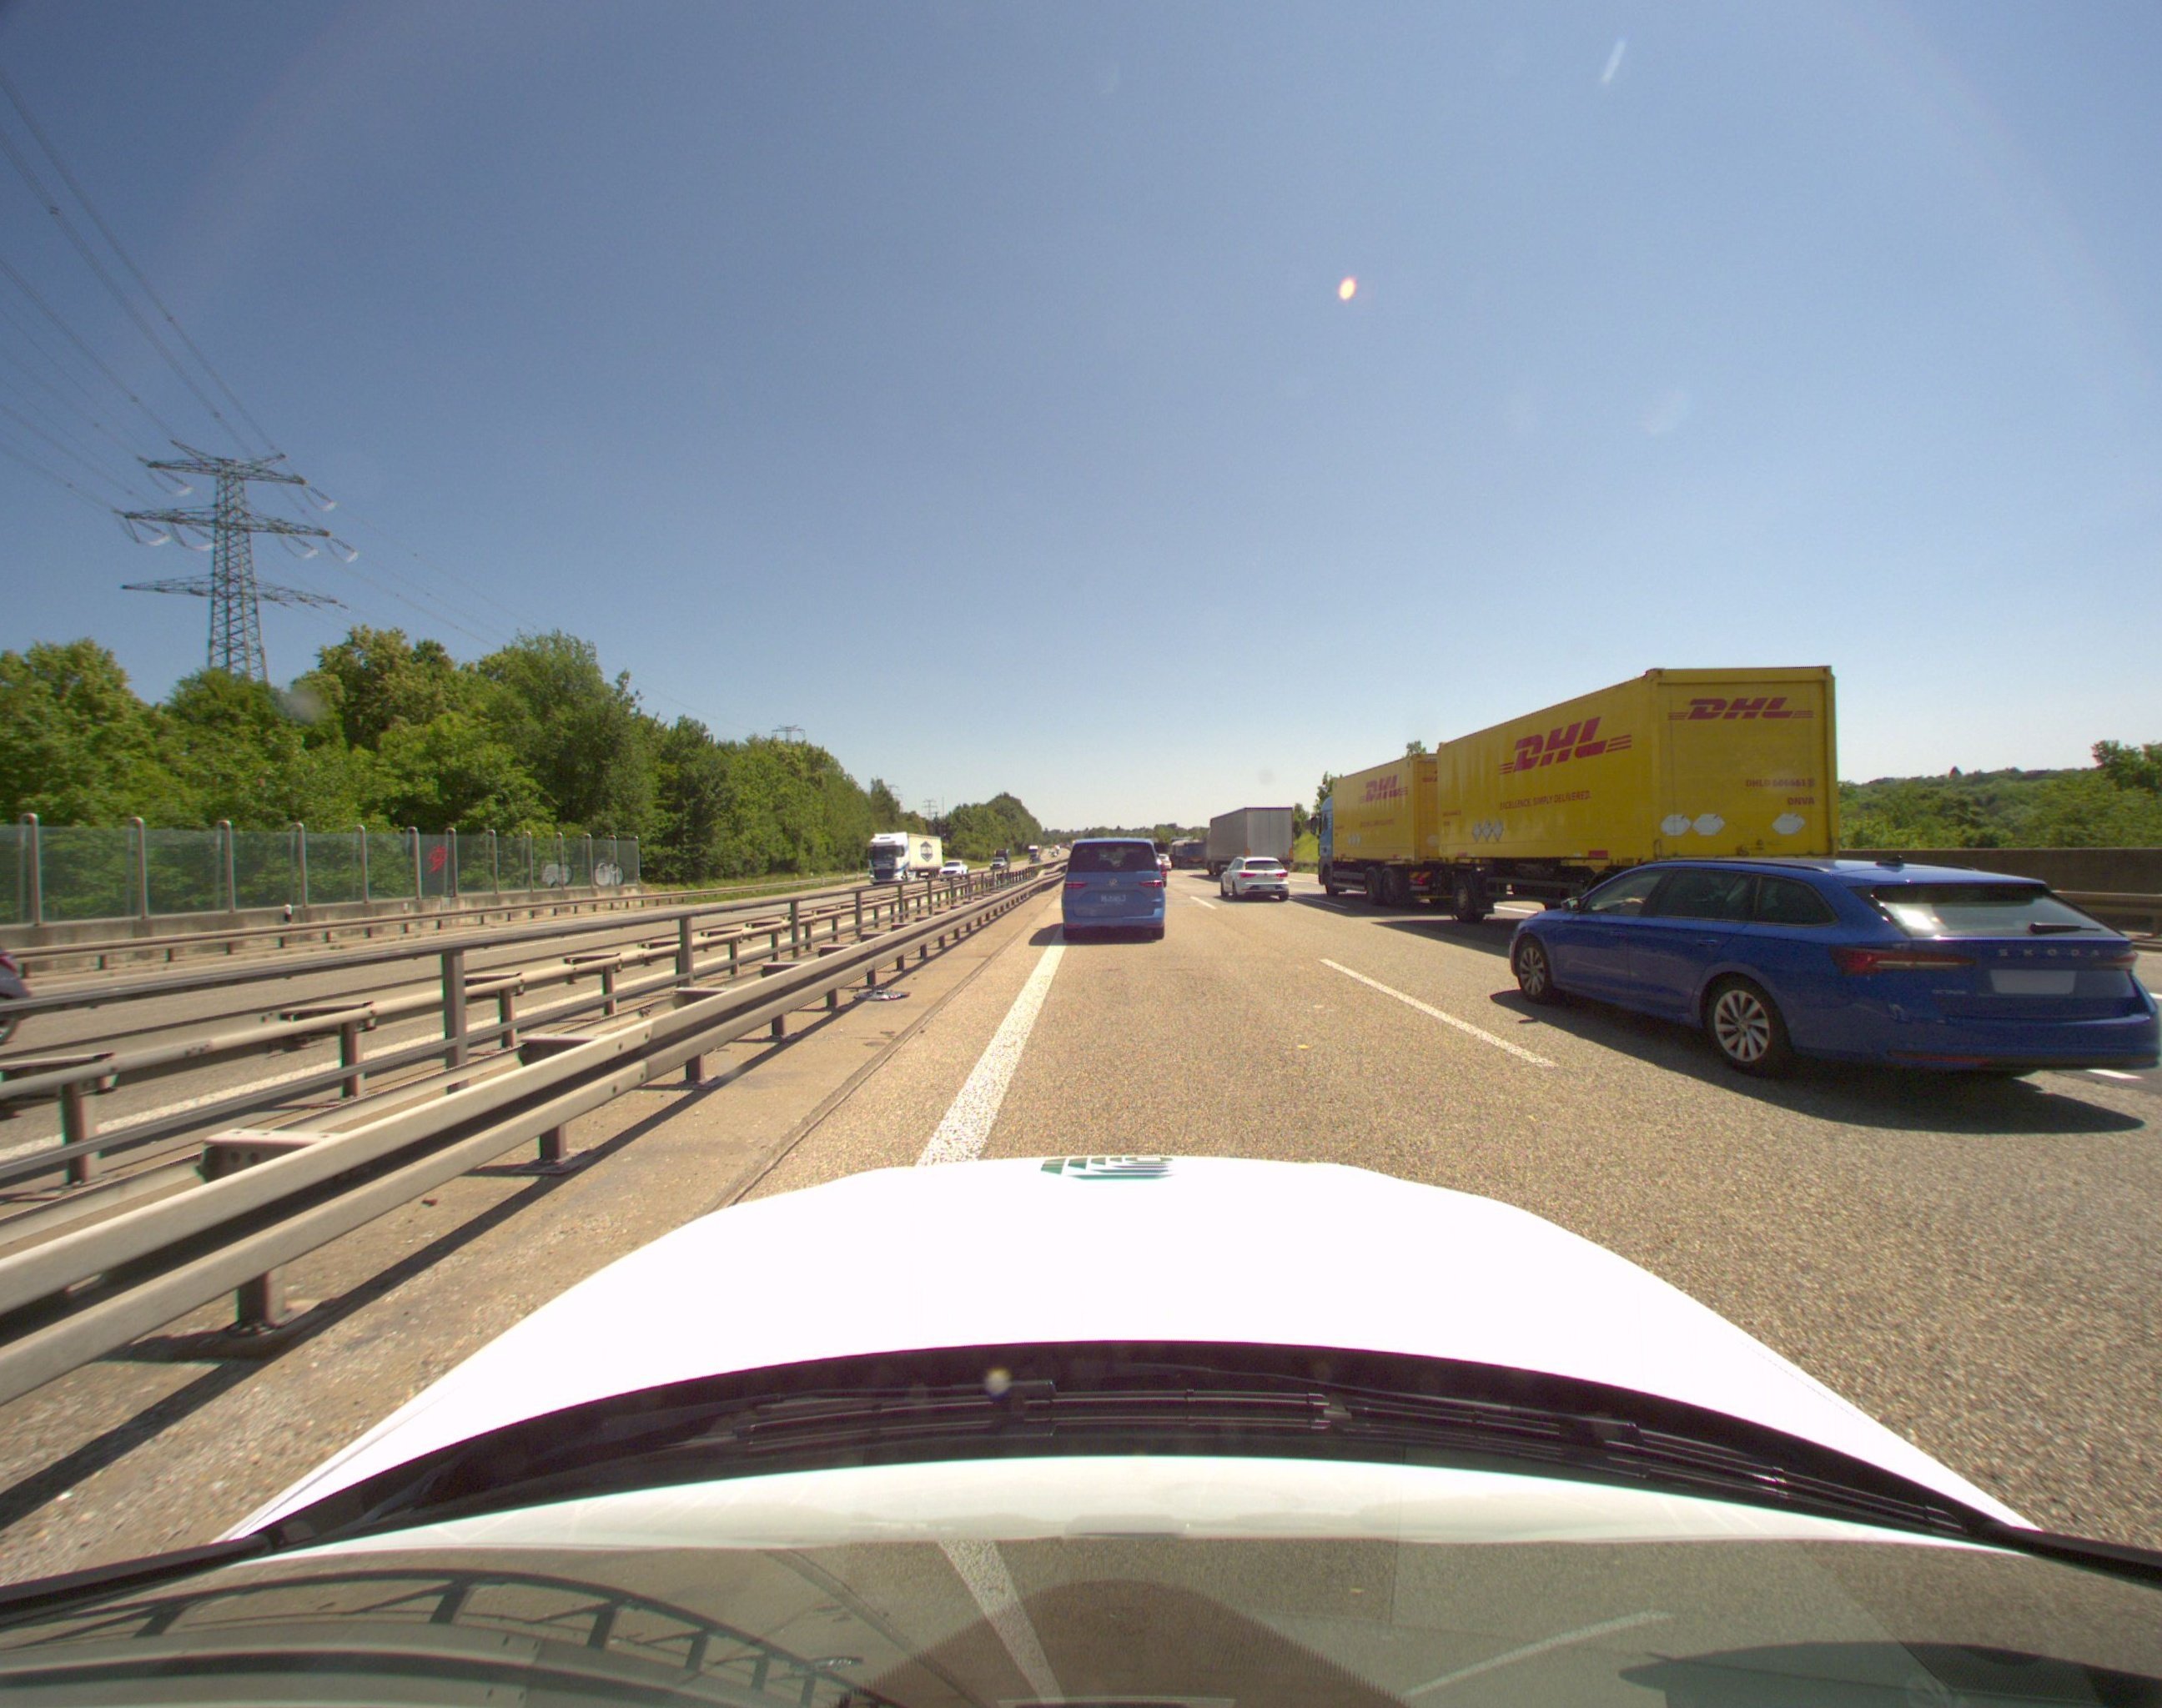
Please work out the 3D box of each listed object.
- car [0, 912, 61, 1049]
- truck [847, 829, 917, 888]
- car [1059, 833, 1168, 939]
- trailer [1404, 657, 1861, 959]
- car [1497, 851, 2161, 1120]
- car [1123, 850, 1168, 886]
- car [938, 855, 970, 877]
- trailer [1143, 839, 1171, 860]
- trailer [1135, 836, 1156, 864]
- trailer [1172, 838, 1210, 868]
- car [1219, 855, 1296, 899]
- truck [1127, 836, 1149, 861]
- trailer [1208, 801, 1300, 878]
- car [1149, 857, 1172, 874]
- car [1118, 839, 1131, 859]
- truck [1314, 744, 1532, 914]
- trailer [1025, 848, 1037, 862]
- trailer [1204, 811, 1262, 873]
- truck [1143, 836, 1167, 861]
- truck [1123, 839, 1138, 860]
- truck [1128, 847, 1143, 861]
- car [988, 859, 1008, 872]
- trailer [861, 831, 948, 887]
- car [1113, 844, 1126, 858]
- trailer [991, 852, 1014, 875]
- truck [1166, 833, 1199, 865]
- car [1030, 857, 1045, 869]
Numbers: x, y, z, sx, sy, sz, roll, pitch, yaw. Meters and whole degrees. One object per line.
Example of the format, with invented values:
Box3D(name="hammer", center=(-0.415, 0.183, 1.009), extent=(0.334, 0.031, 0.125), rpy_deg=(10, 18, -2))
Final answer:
Box3D(name="car", center=(-12.702, 1.424, 7.669), extent=(1.646, 1.462, 3.543), rpy_deg=(-3, -1, 2))
Box3D(name="truck", center=(-15.347, 0.350, 63.199), extent=(3.992, 4.228, 4.859), rpy_deg=(-3, -1, 1))
Box3D(name="car", center=(0.642, 0.582, 16.240), extent=(1.894, 1.838, 4.002), rpy_deg=(0, -1, 2))
Box3D(name="trailer", center=(9.376, -0.604, 15.806), extent=(2.755, 4.117, 9.380), rpy_deg=(0, 0, 2))
Box3D(name="car", center=(5.292, 0.729, 6.587), extent=(1.700, 1.441, 4.429), rpy_deg=(0, -1, 1))
Box3D(name="car", center=(2.970, 0.643, 38.088), extent=(1.864, 1.552, 4.000), rpy_deg=(0, -1, 1))
Box3D(name="car", center=(-10.429, 0.958, 67.144), extent=(1.742, 1.696, 4.387), rpy_deg=(-3, -1, 2))
Box3D(name="trailer", center=(11.772, -0.640, 127.160), extent=(3.631, 3.079, 15.783), rpy_deg=(0, -1, 3))
Box3D(name="trailer", center=(12.253, -0.733, 155.121), extent=(3.631, 5.136, 13.084), rpy_deg=(0, -1, 3))
Box3D(name="trailer", center=(10.826, -0.154, 81.009), extent=(2.734, 2.836, 9.118), rpy_deg=(0, 1, 1))
Box3D(name="car", center=(5.782, 0.720, 27.152), extent=(1.860, 1.361, 4.002), rpy_deg=(0, 0, 2))
Box3D(name="truck", center=(12.248, -1.028, 176.156), extent=(3.610, 5.213, 15.683), rpy_deg=(0, -1, 0))
Box3D(name="trailer", center=(10.256, -0.756, 50.064), extent=(2.952, 4.049, 13.754), rpy_deg=(-1, 0, 1))
Box3D(name="car", center=(6.971, 1.010, 71.996), extent=(1.833, 1.454, 4.002), rpy_deg=(0, -1, 2))
Box3D(name="car", center=(11.964, -1.400, 224.235), extent=(3.207, 5.257, 8.145), rpy_deg=(0, -1, 1))
Box3D(name="truck", center=(9.687, -0.578, 24.662), extent=(2.755, 4.109, 9.957), rpy_deg=(0, 0, 2))
Box3D(name="trailer", center=(-14.089, 0.296, 231.920), extent=(2.747, 3.976, 6.132), rpy_deg=(-3, 0, 1))
Box3D(name="trailer", center=(10.374, -0.812, 56.276), extent=(2.914, 4.044, 6.412), rpy_deg=(-1, 0, 1))
Box3D(name="truck", center=(12.141, -0.861, 134.259), extent=(3.610, 4.094, 7.530), rpy_deg=(0, -1, 3))
Box3D(name="truck", center=(11.693, -1.029, 194.258), extent=(3.058, 4.920, 10.690), rpy_deg=(0, -1, 1))
Box3D(name="truck", center=(7.112, 0.023, 106.544), extent=(1.719, 1.857, 4.000), rpy_deg=(0, -1, 1))
Box3D(name="car", center=(-10.571, 1.436, 103.681), extent=(1.864, 1.625, 4.630), rpy_deg=(-2, -1, 2))
Box3D(name="trailer", center=(-15.090, 0.458, 71.350), extent=(3.974, 4.235, 14.045), rpy_deg=(-2, -1, 2))
Box3D(name="car", center=(8.062, -0.591, 171.541), extent=(2.280, 3.008, 5.570), rpy_deg=(0, -1, -1))
Box3D(name="trailer", center=(-10.414, 1.266, 108.634), extent=(2.158, 2.777, 5.378), rpy_deg=(-5, -1, 2))
Box3D(name="truck", center=(10.942, -0.543, 88.348), extent=(2.734, 3.311, 7.134), rpy_deg=(0, 1, 1))
Box3D(name="car", center=(-6.106, 1.236, 114.041), extent=(1.785, 1.573, 4.001), rpy_deg=(0, -1, 2))
